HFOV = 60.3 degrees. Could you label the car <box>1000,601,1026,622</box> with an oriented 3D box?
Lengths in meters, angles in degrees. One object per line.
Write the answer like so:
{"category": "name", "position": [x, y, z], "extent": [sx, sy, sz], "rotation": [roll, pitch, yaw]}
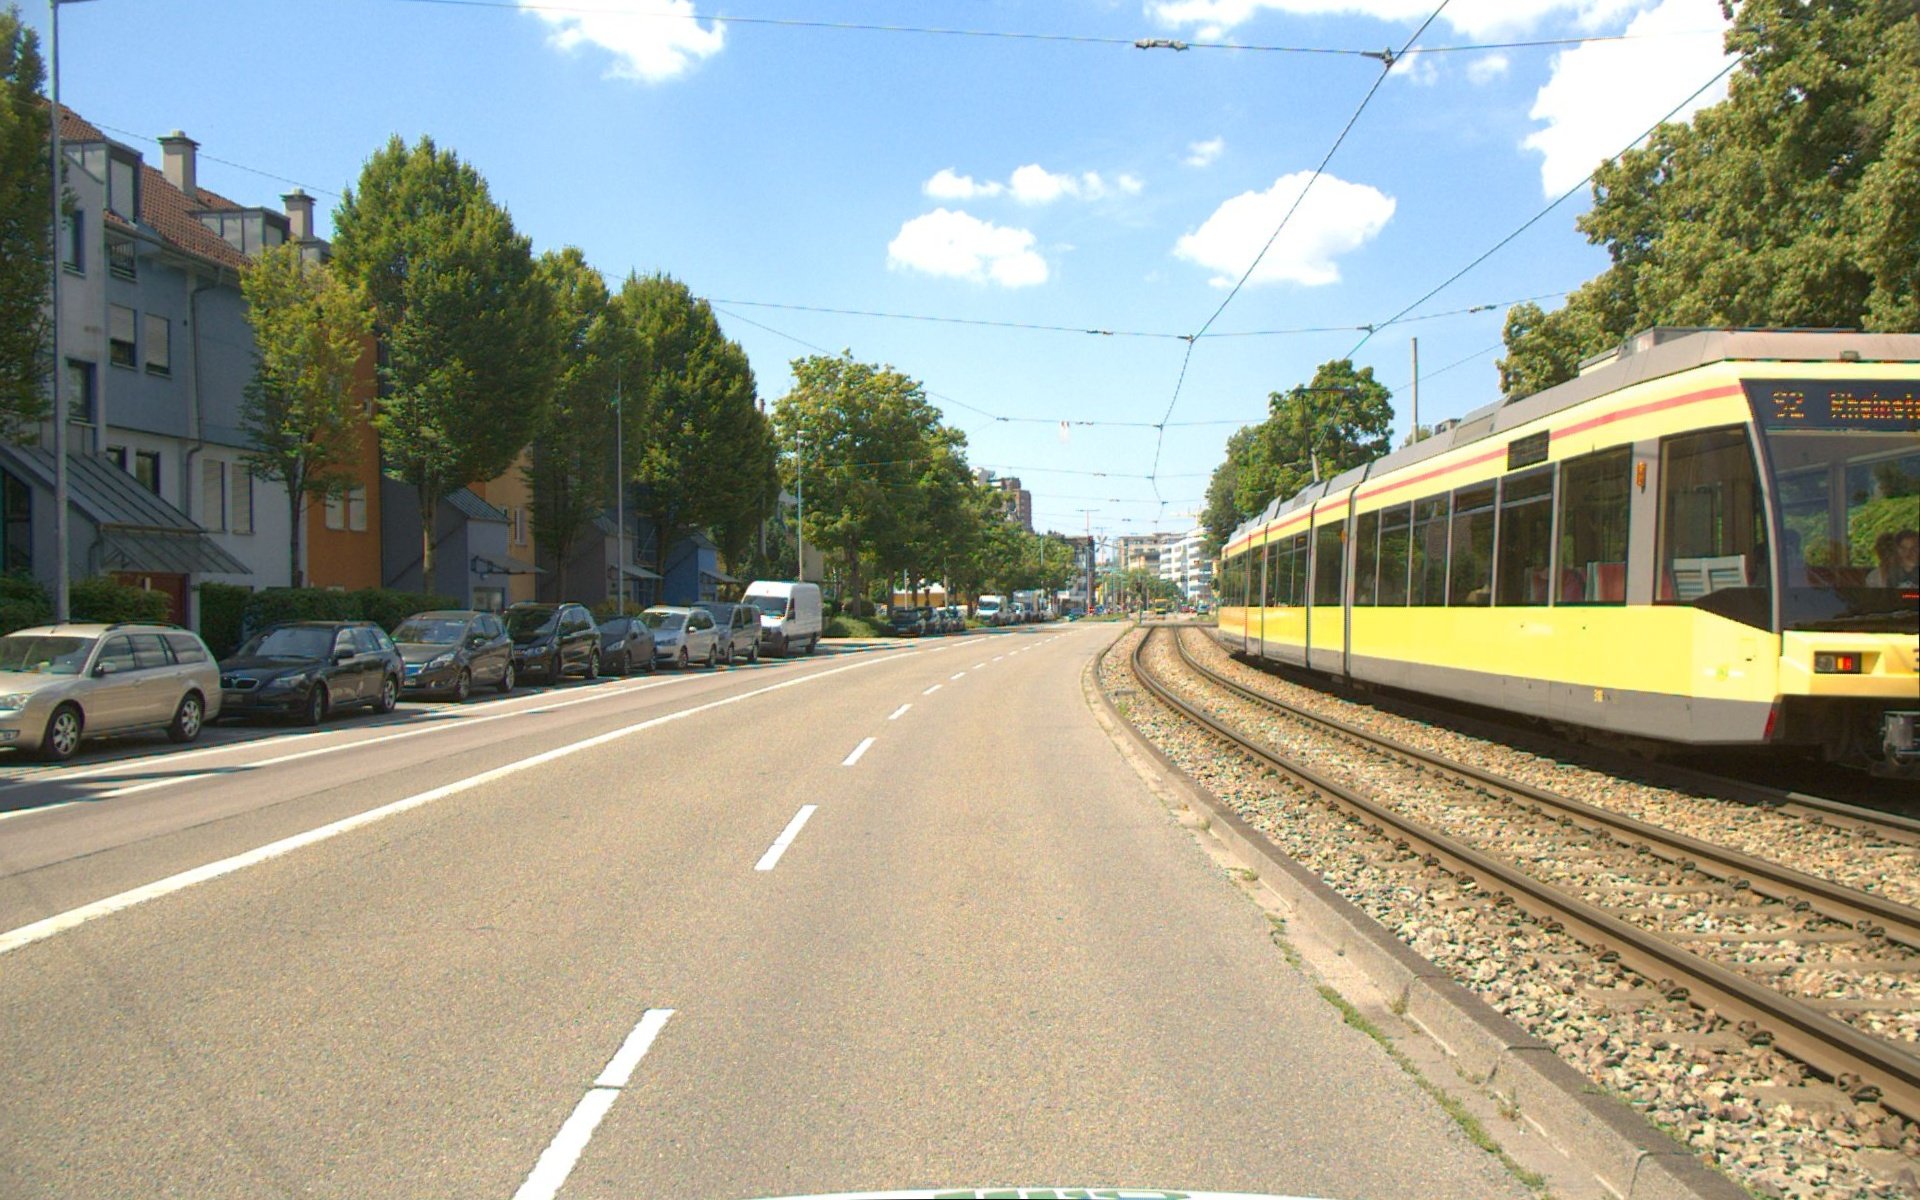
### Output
{"category": "car", "position": [5.095, 1.115, 158.164], "extent": [2.017, 1.931, 4.875], "rotation": [-1, 0, 8]}

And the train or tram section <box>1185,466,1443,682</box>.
{"category": "train or tram section", "position": [7.531, -0.443, 38.891], "extent": [2.882, 3.756, 20.292], "rotation": [0, 0, 3]}

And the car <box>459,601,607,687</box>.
{"category": "car", "position": [-9.454, 0.918, 37.064], "extent": [1.714, 1.746, 4.890], "rotation": [-1, 0, 4]}

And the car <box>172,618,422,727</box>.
{"category": "car", "position": [-10.221, 1.055, 25.956], "extent": [1.705, 1.472, 4.965], "rotation": [1, 0, 3]}

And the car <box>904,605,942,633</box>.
{"category": "car", "position": [-2.234, 1.126, 99.816], "extent": [1.737, 1.632, 4.640], "rotation": [0, 0, 6]}

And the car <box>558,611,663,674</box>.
{"category": "car", "position": [-8.974, 1.064, 42.815], "extent": [1.565, 1.497, 4.090], "rotation": [-1, 0, 4]}

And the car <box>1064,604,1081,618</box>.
{"category": "car", "position": [12.812, 1.248, 188.786], "extent": [1.737, 1.485, 4.198], "rotation": [-2, 0, 6]}

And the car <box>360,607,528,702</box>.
{"category": "car", "position": [-9.841, 0.983, 31.871], "extent": [1.621, 1.645, 4.287], "rotation": [-1, 0, 4]}

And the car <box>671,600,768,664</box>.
{"category": "car", "position": [-7.681, 0.986, 53.345], "extent": [1.768, 1.928, 5.366], "rotation": [-1, 0, 6]}

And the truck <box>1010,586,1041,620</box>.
{"category": "truck", "position": [6.695, 0.308, 167.466], "extent": [2.111, 3.266, 7.088], "rotation": [2, 0, 10]}

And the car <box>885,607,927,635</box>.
{"category": "car", "position": [-2.980, 1.170, 92.202], "extent": [1.737, 1.481, 4.807], "rotation": [-1, 0, 6]}

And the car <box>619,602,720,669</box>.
{"category": "car", "position": [-8.295, 0.987, 47.676], "extent": [1.680, 1.783, 4.906], "rotation": [-1, 0, 4]}

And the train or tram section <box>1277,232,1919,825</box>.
{"category": "train or tram section", "position": [6.741, -0.445, 19.658], "extent": [2.882, 3.756, 18.392], "rotation": [0, 0, 1]}

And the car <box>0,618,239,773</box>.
{"category": "car", "position": [-10.655, 1.032, 19.846], "extent": [1.621, 1.534, 4.898], "rotation": [1, 0, 3]}

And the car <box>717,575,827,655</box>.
{"category": "car", "position": [-6.923, 0.534, 61.848], "extent": [2.274, 2.697, 7.040], "rotation": [3, 0, 8]}

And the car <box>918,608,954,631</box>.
{"category": "car", "position": [-1.490, 1.218, 104.980], "extent": [1.737, 1.397, 4.700], "rotation": [1, 0, 6]}

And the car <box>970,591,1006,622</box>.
{"category": "car", "position": [2.392, 0.550, 139.544], "extent": [2.111, 2.530, 6.198], "rotation": [2, 0, 10]}
